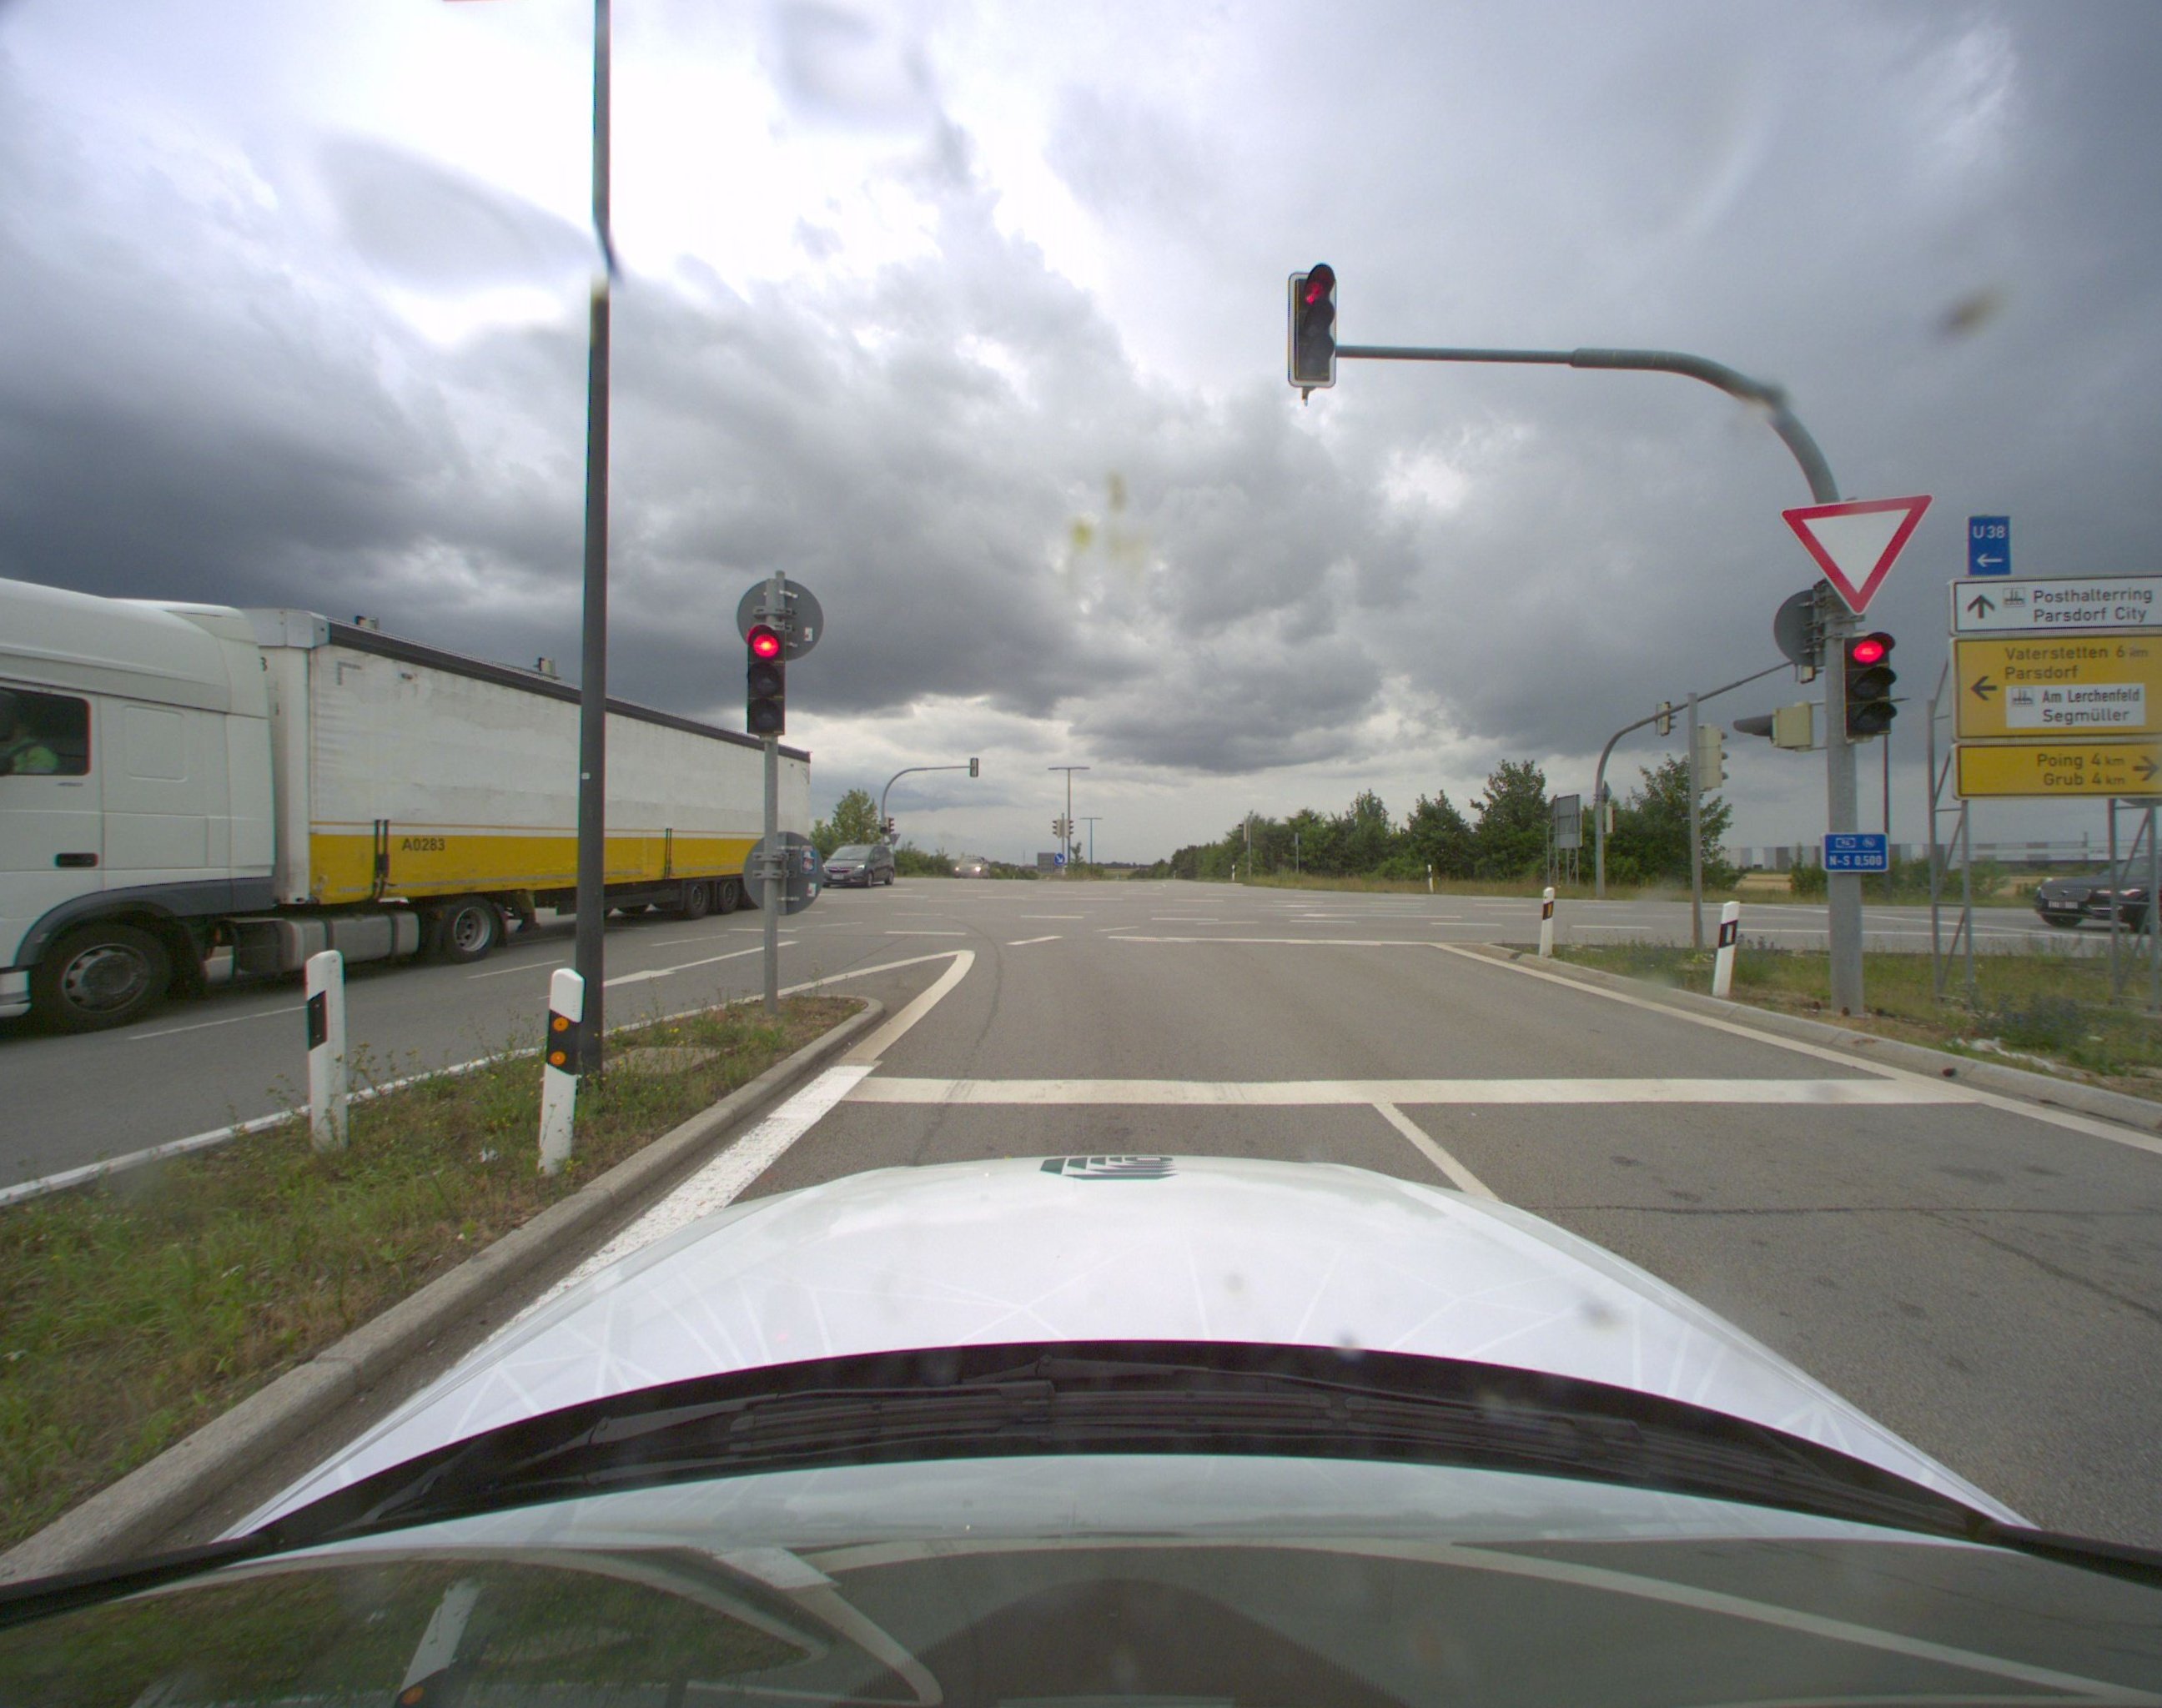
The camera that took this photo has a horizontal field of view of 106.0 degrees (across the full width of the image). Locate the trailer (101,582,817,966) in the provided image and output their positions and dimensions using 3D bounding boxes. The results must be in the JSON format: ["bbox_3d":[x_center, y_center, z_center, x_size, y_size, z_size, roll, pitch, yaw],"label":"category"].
[{"bbox_3d":[-9.122,-0.819,15.895,2.680,4.210,13.852,0,-1,3],"label":"trailer"}]

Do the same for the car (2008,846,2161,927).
[{"bbox_3d":[24.053,0.705,17.740,4.951,1.684,2.006,0,0,10],"label":"car"}]

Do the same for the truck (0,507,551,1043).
[{"bbox_3d":[-9.501,-0.580,9.122,2.638,4.141,6.409,0,-1,3],"label":"truck"}]

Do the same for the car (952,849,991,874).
[{"bbox_3d":[-7.028,0.443,52.796,1.803,1.520,4.244,0,1,2],"label":"car"}]

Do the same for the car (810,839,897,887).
[{"bbox_3d":[-8.662,0.331,31.425,1.986,1.694,4.457,0,-1,2],"label":"car"}]
